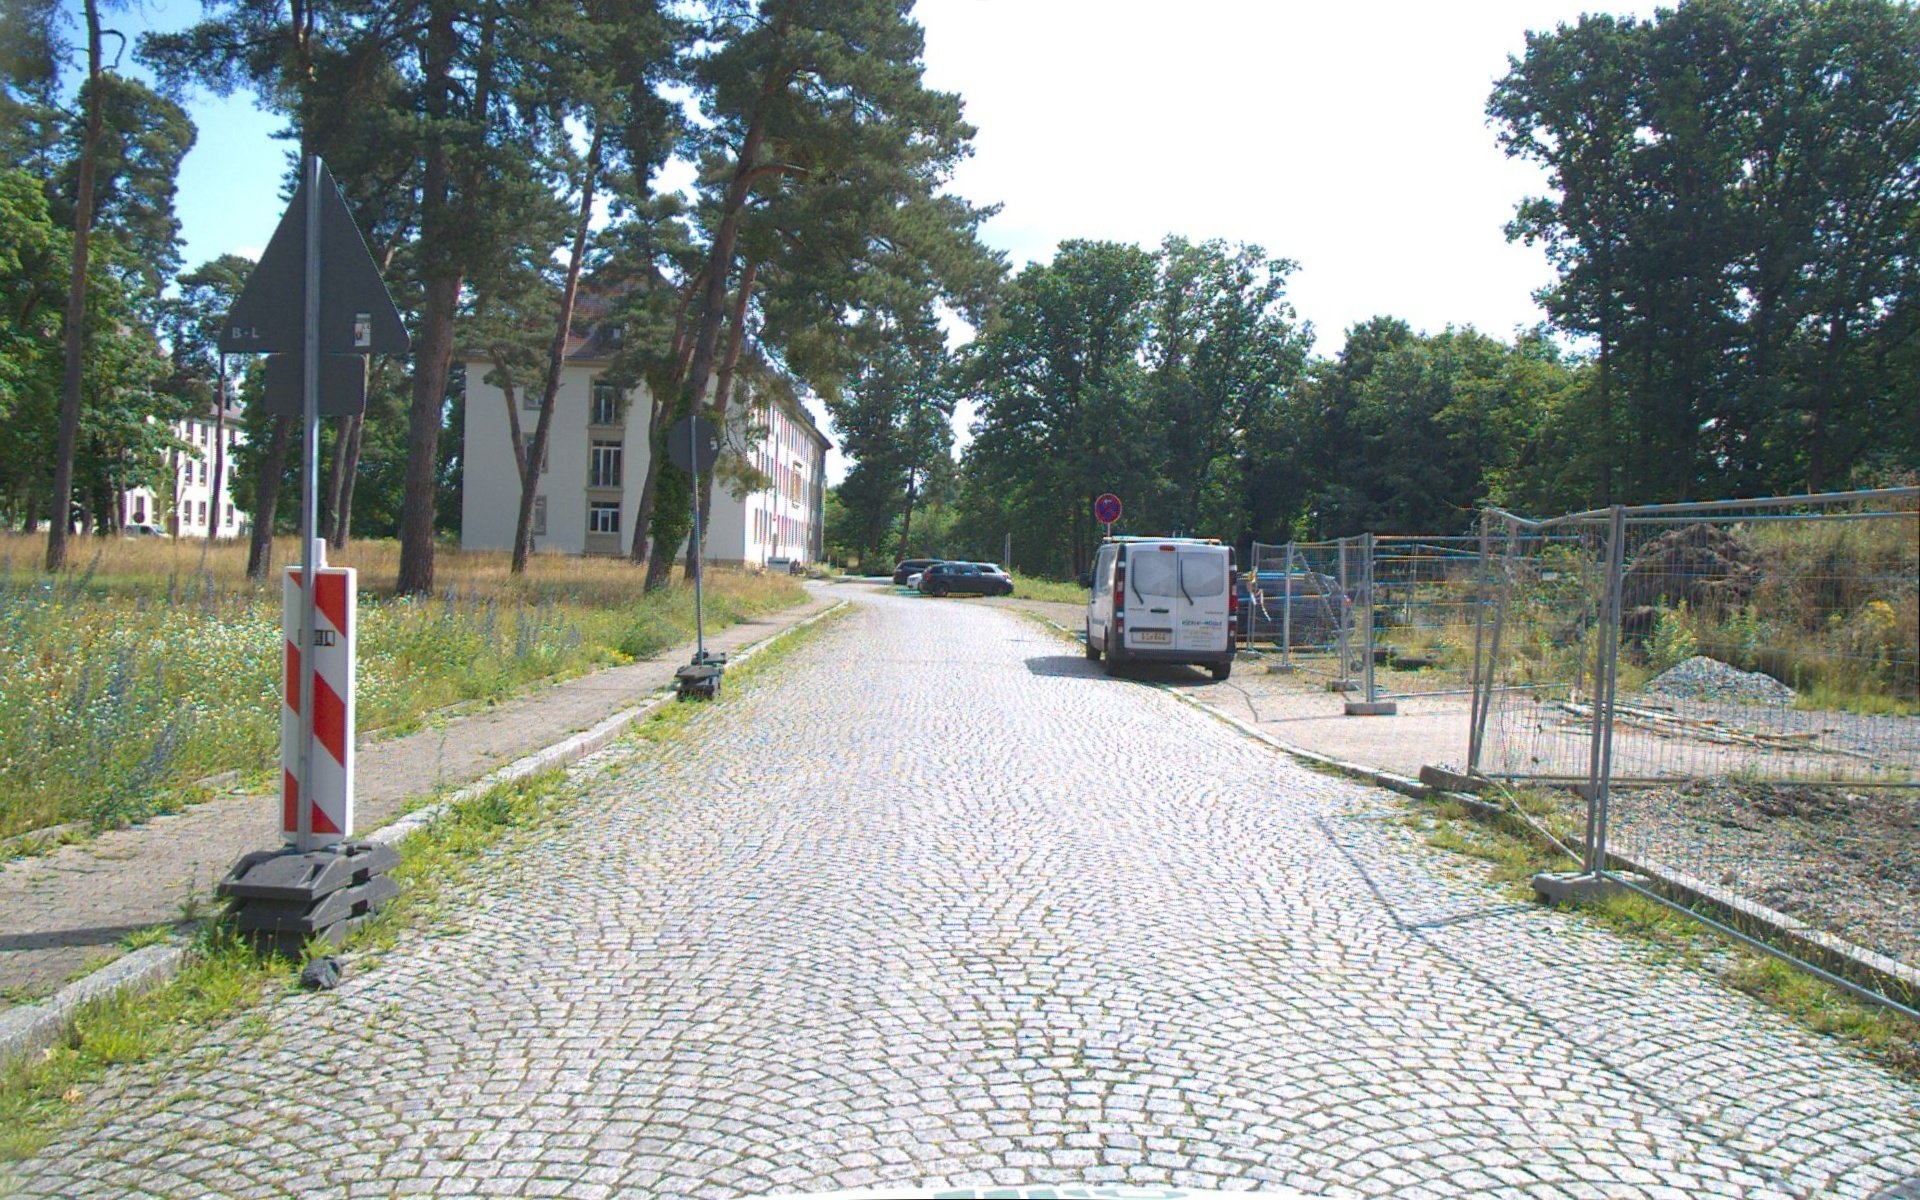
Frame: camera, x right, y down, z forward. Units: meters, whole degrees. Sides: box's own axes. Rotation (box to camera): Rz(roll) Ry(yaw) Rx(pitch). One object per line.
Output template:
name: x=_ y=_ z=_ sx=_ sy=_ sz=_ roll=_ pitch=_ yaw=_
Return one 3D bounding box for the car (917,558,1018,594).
car: x=0.319 y=-1.075 z=73.373 sx=4.245 sy=1.526 sz=1.826 roll=0 pitch=2 yaw=-10

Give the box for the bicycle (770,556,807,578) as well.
bicycle: x=-10.442 y=-2.003 z=100.711 sx=2.176 sy=1.282 sz=0.623 roll=2 pitch=1 yaw=1

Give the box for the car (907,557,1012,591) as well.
car: x=-0.042 y=-1.194 z=76.513 sx=4.765 sy=1.498 sz=1.874 roll=0 pitch=2 yaw=-3

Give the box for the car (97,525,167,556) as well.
car: x=-57.859 y=-4.159 z=115.638 sx=3.976 sy=2.026 sz=1.713 roll=2 pitch=1 yaw=-1

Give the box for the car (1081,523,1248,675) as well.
car: x=3.096 y=-0.070 z=26.152 sx=1.875 sy=2.089 sz=5.679 roll=1 pitch=1 yaw=0

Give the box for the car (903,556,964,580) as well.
car: x=-1.762 y=-2.151 z=111.947 sx=4.101 sy=1.570 sz=1.820 roll=0 pitch=1 yaw=0

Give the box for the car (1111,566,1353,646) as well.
car: x=5.265 y=0.099 z=32.273 sx=4.367 sy=1.501 sz=1.744 roll=0 pitch=1 yaw=-6

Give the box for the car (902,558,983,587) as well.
car: x=-0.965 y=-1.454 z=89.154 sx=4.310 sy=1.510 sz=1.765 roll=0 pitch=1 yaw=-3

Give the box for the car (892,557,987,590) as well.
car: x=-1.052 y=-1.340 z=83.838 sx=4.756 sy=1.579 sz=1.879 roll=0 pitch=1 yaw=-3
